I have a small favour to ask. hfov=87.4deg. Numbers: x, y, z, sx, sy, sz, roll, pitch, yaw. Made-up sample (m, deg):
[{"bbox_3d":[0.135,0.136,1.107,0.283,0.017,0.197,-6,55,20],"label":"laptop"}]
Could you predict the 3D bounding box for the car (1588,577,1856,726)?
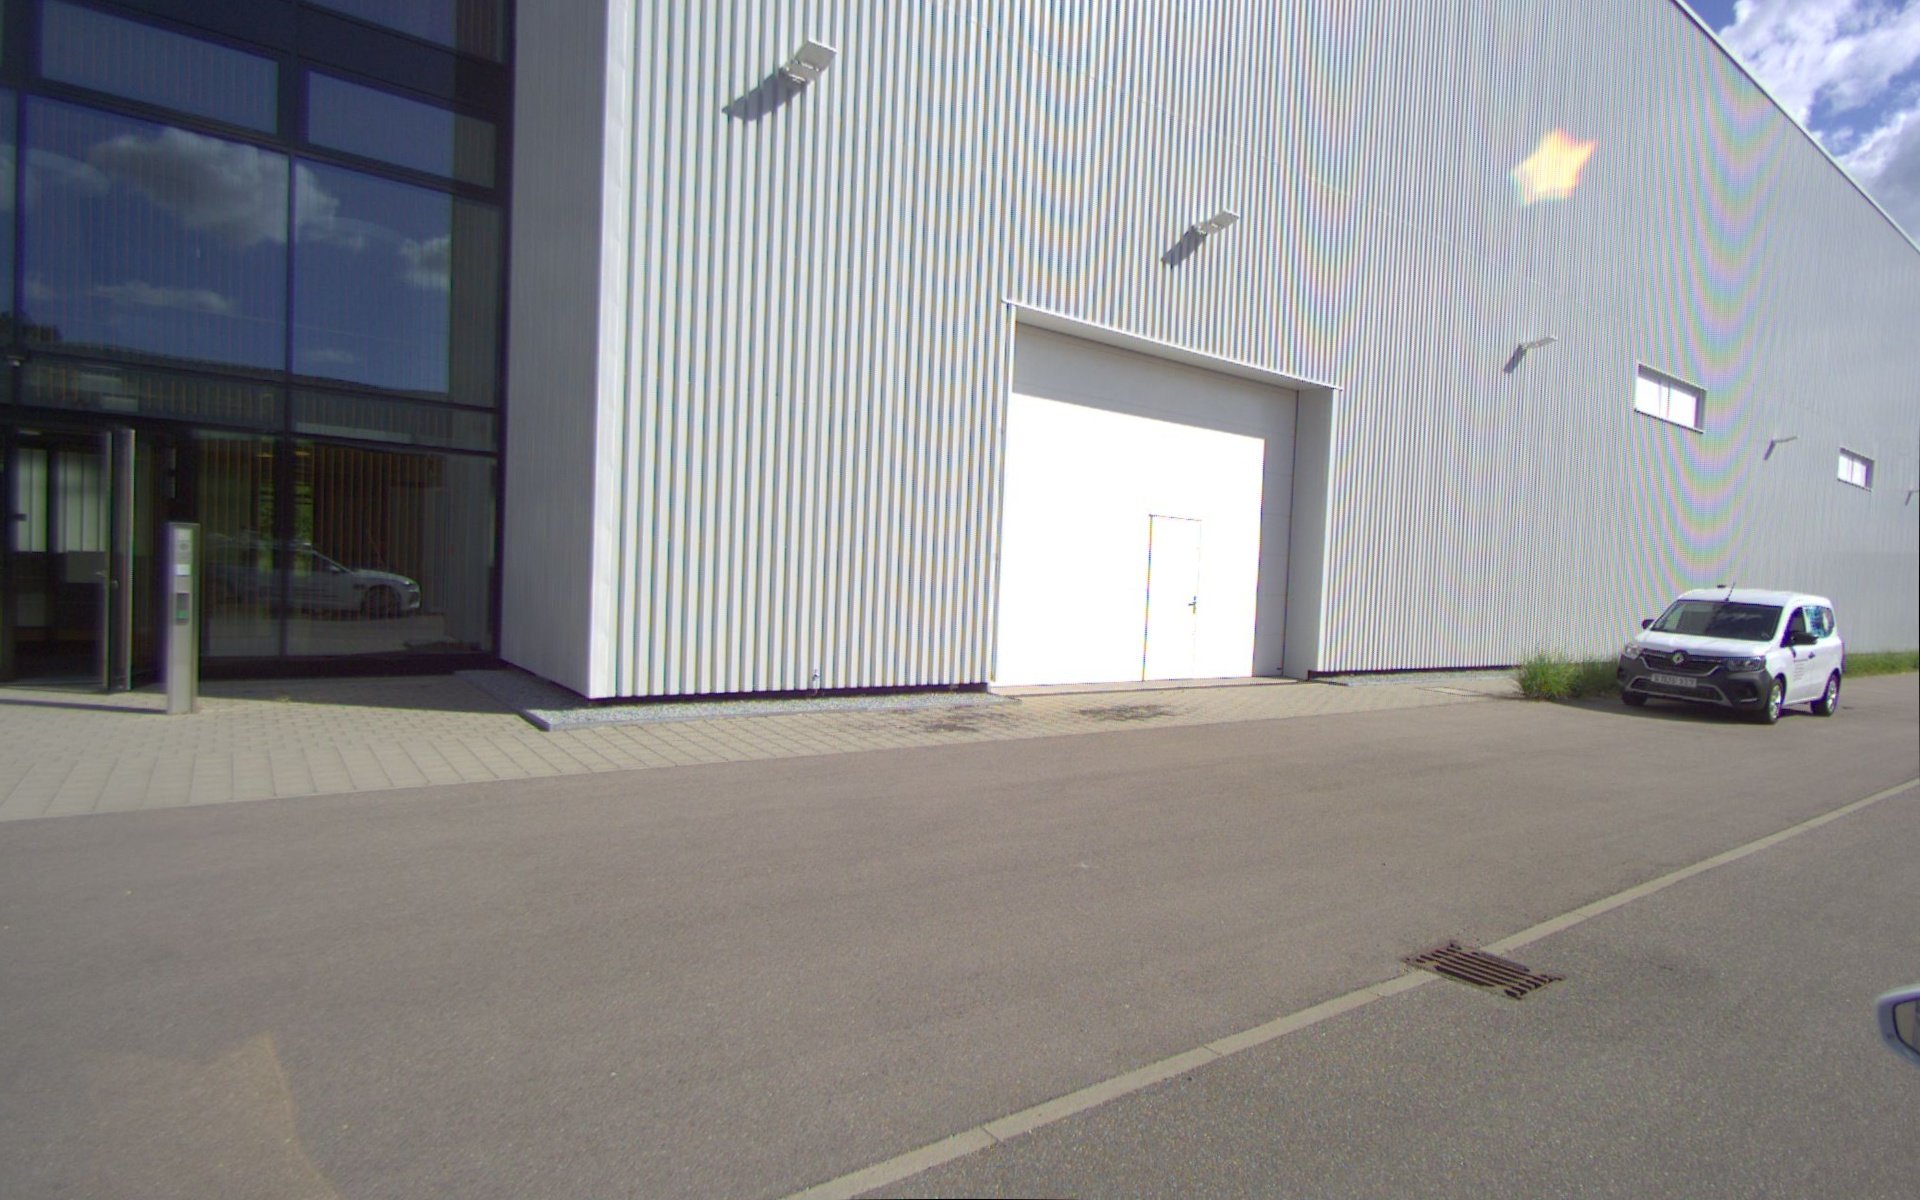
[{"bbox_3d":[11.447,0.691,14.989,4.555,1.814,1.914,1,3,-37],"label":"car"}]
